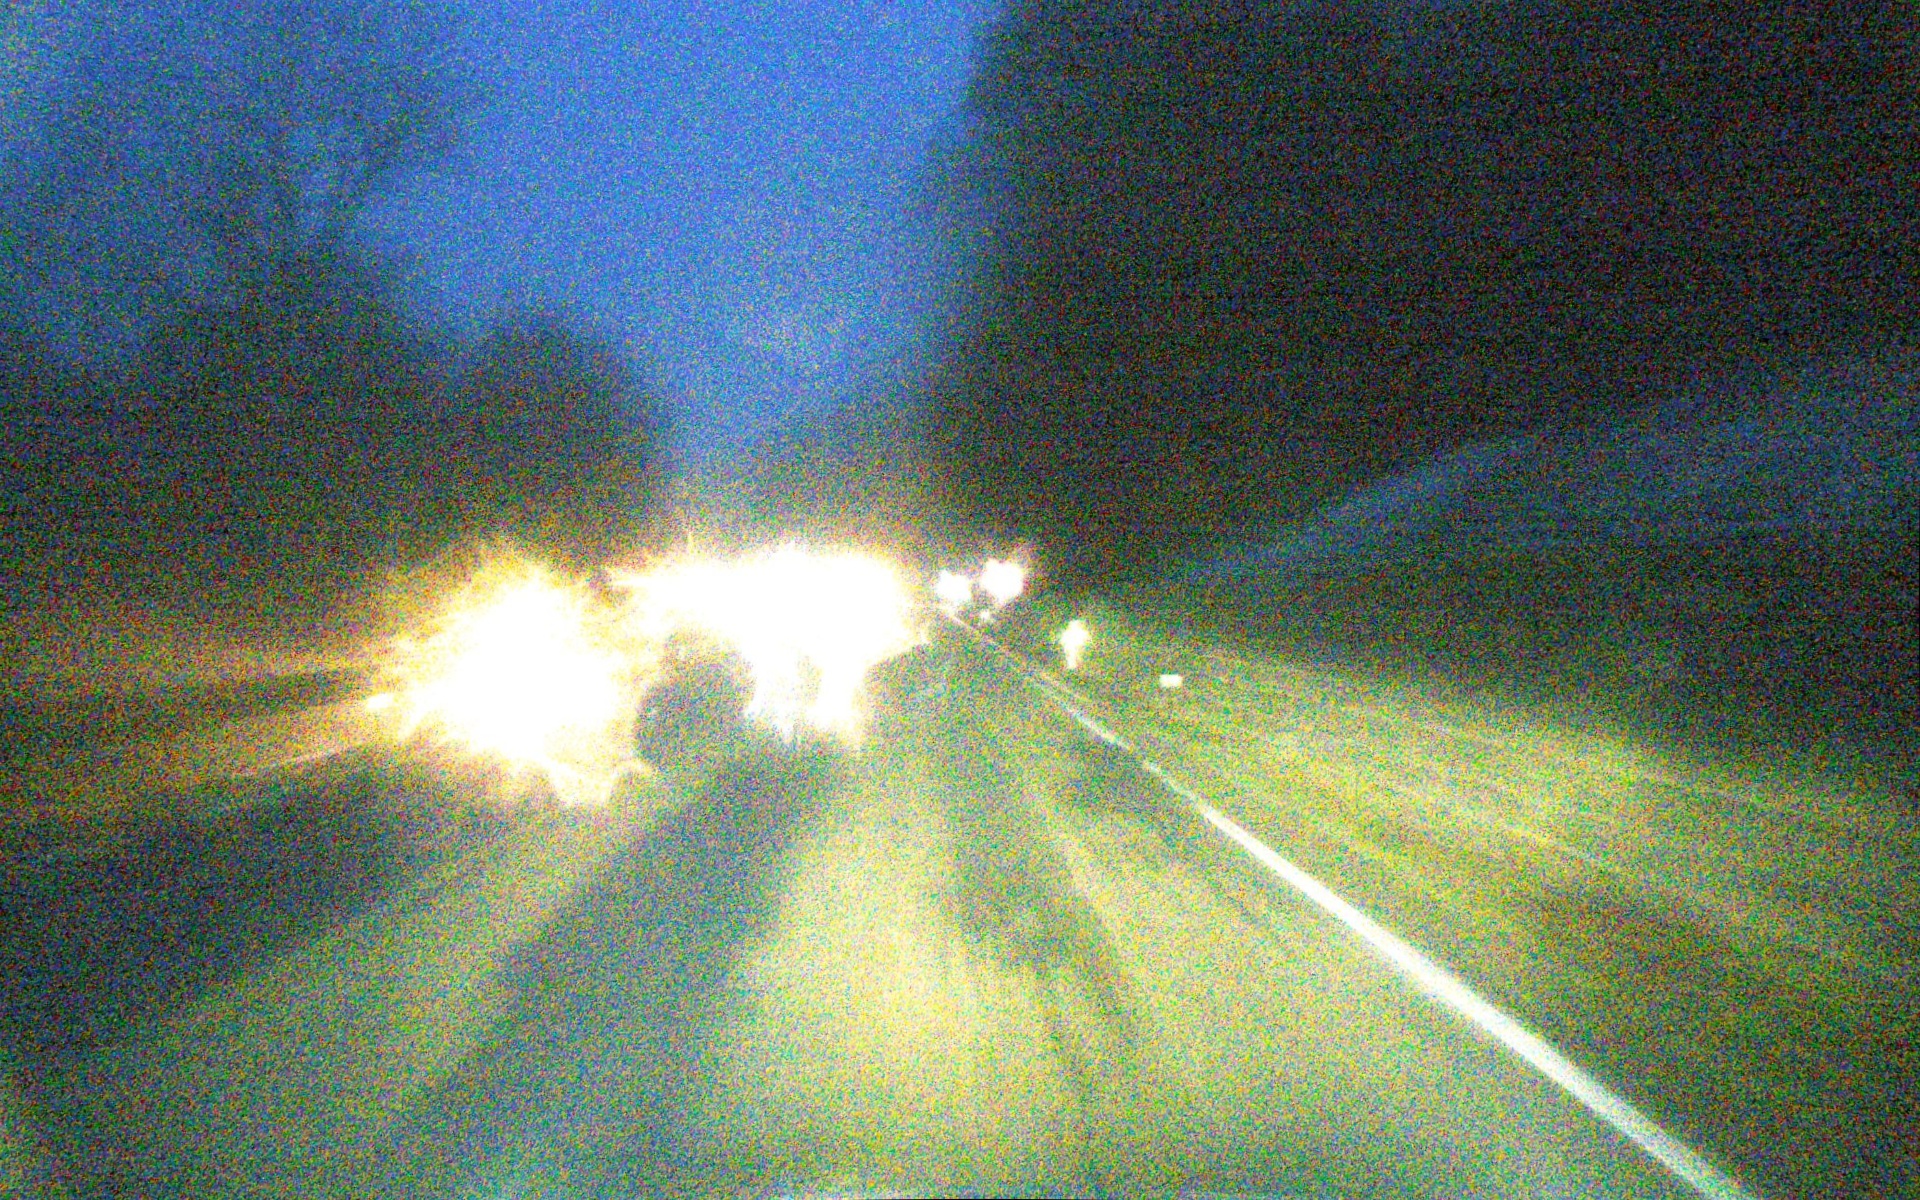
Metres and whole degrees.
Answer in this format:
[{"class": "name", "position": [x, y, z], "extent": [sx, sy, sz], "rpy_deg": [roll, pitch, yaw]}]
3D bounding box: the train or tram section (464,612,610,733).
[{"class": "train or tram section", "position": [-13.680, 2.220, 54.221], "extent": [2.786, 3.520, 8.550], "rpy_deg": [0, 0, -2]}]
